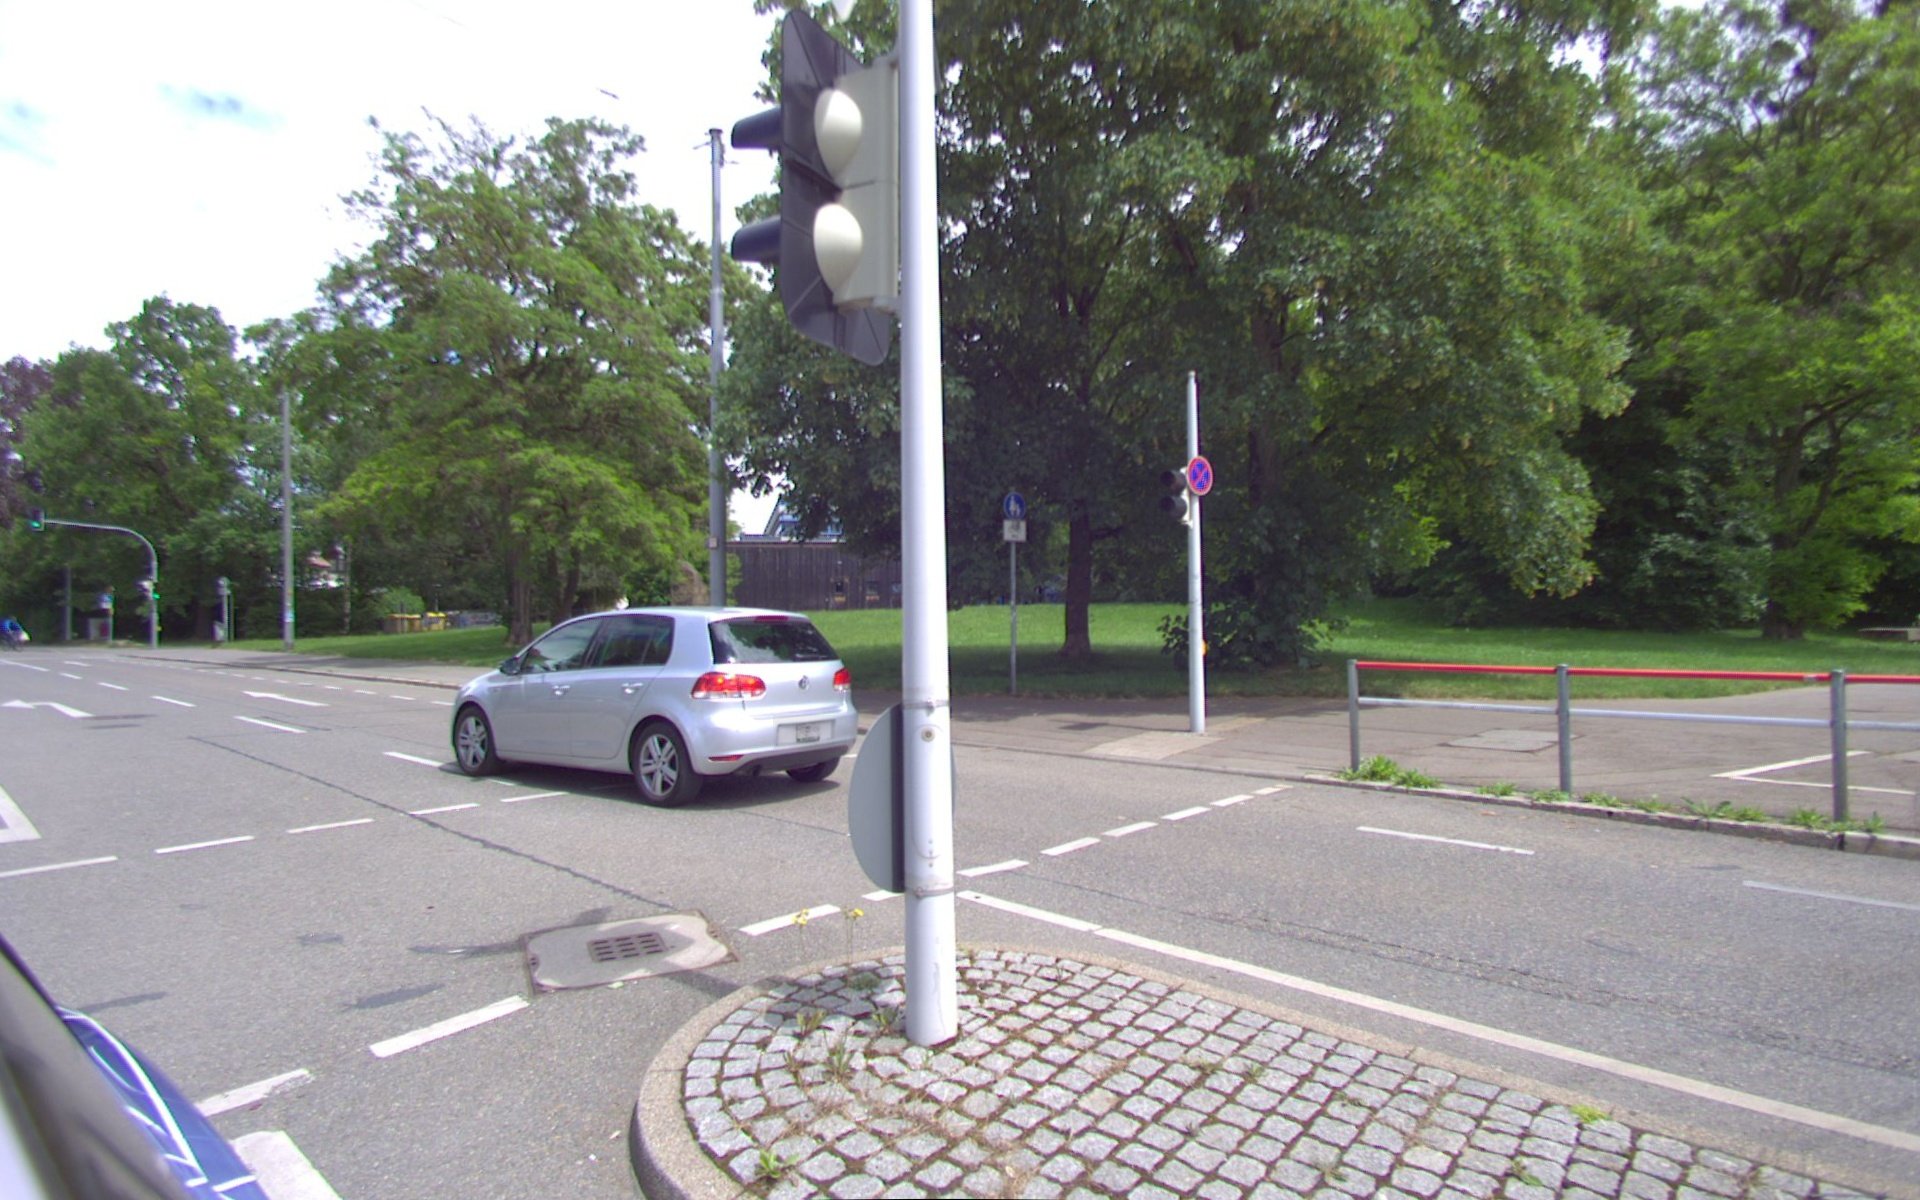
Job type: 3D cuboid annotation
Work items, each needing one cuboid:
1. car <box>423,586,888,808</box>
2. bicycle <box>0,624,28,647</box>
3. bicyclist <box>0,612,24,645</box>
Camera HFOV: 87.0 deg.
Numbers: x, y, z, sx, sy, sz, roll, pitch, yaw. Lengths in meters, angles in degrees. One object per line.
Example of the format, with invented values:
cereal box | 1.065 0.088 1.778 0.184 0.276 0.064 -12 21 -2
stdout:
car | -2.701 0.678 8.605 4.060 1.469 1.673 -1 -2 36
bicycle | -47.962 1.773 51.118 1.793 1.116 0.805 -1 0 31
bicyclist | -47.937 1.449 51.091 0.769 1.620 0.799 -2 0 31
